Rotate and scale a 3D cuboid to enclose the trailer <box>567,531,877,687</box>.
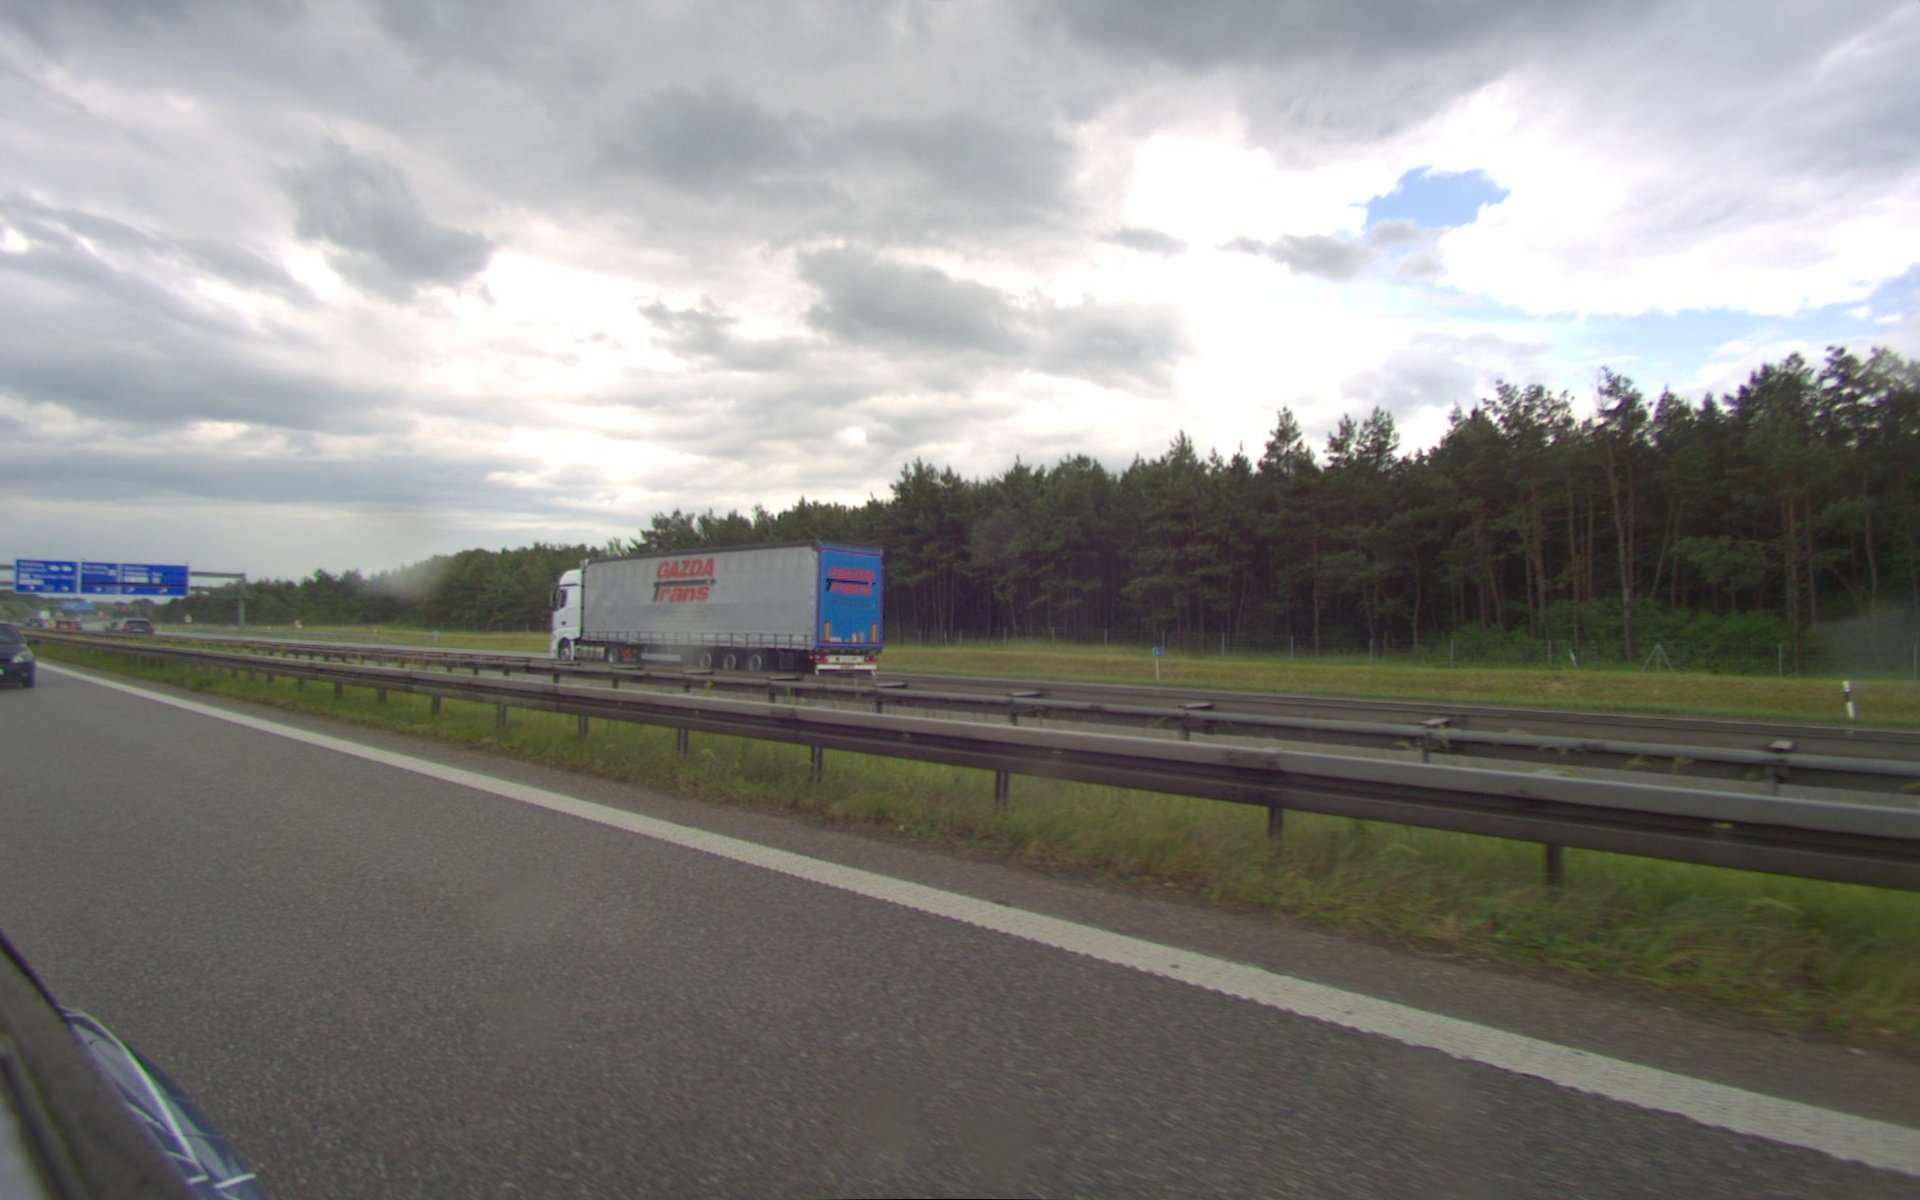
[{"bbox_3d":[-8.492,0.293,33.424,14.624,4.272,2.075,-1,0,43],"label":"trailer"}]

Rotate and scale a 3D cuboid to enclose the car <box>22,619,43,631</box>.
[{"bbox_3d":[-124.784,3.409,136.161,1.971,1.483,4.119,-2,1,-45],"label":"car"}]

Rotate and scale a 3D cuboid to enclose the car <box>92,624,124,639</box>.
[{"bbox_3d":[-85.202,3.126,101.157,4.651,1.467,1.895,-1,-2,43],"label":"car"}]

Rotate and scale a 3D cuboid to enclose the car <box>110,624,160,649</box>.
[{"bbox_3d":[-55.079,2.414,67.560,4.469,1.674,1.840,-1,-2,41],"label":"car"}]

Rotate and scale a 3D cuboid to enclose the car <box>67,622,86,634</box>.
[{"bbox_3d":[-118.189,3.717,135.303,1.619,1.483,4.403,1,-2,-45],"label":"car"}]

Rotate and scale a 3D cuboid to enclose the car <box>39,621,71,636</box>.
[{"bbox_3d":[-87.350,2.759,97.673,4.651,1.375,1.895,-1,-2,43],"label":"car"}]

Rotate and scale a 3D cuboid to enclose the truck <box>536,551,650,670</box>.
[{"bbox_3d":[-14.026,0.369,38.558,4.707,4.269,2.116,-1,0,43],"label":"truck"}]

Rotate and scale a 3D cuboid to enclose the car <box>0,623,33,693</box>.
[{"bbox_3d":[-21.042,1.209,21.452,4.432,1.339,1.785,-1,0,44],"label":"car"}]
